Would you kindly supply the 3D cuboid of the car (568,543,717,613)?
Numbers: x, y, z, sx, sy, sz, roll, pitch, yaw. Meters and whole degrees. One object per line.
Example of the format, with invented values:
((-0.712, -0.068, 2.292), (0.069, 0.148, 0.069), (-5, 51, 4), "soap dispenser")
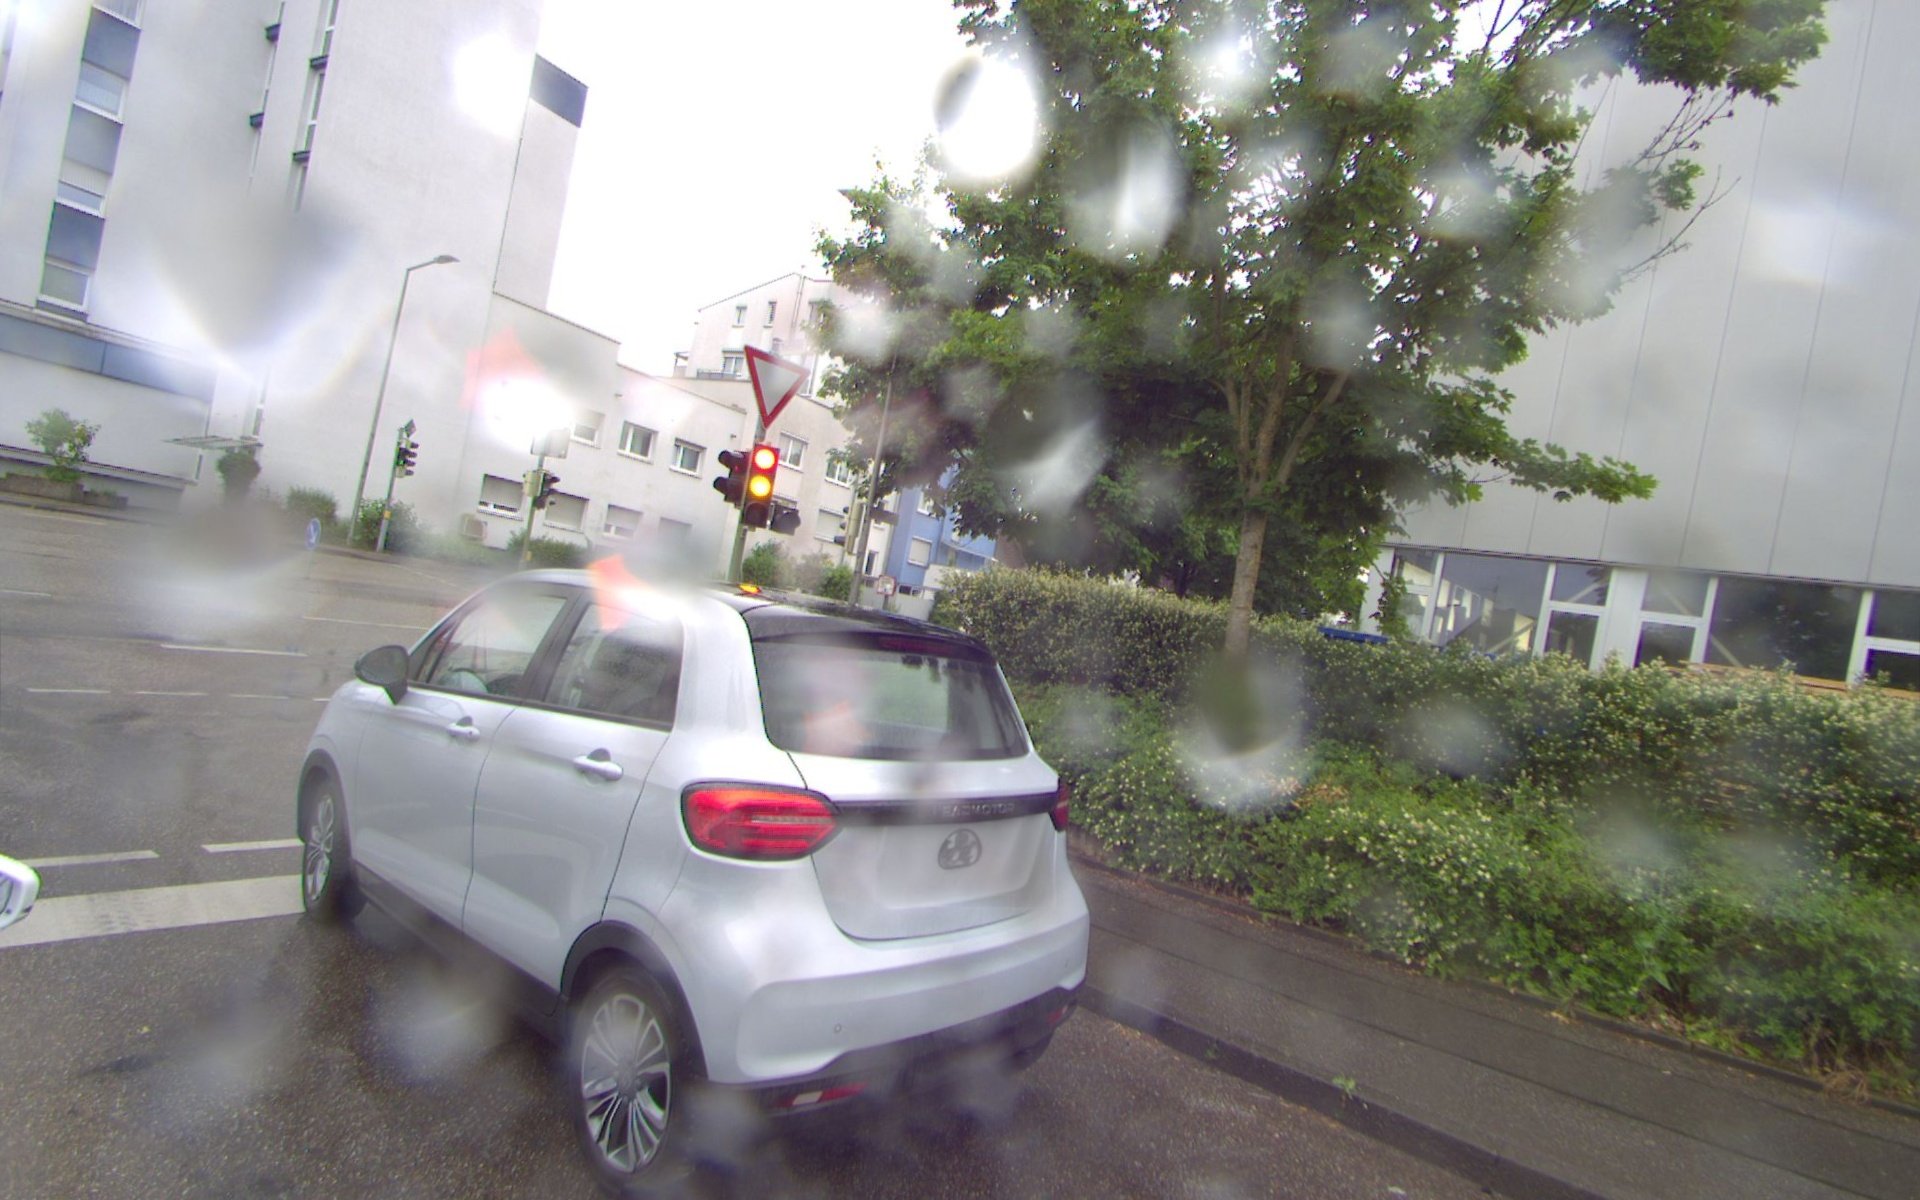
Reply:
((-10.096, -0.676, 32.191), (1.717, 1.504, 4.134), (12, 1, 40), "car")

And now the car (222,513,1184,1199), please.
((-1.327, 0.684, 4.038), (3.850, 1.573, 1.688), (8, 0, 41), "car")
